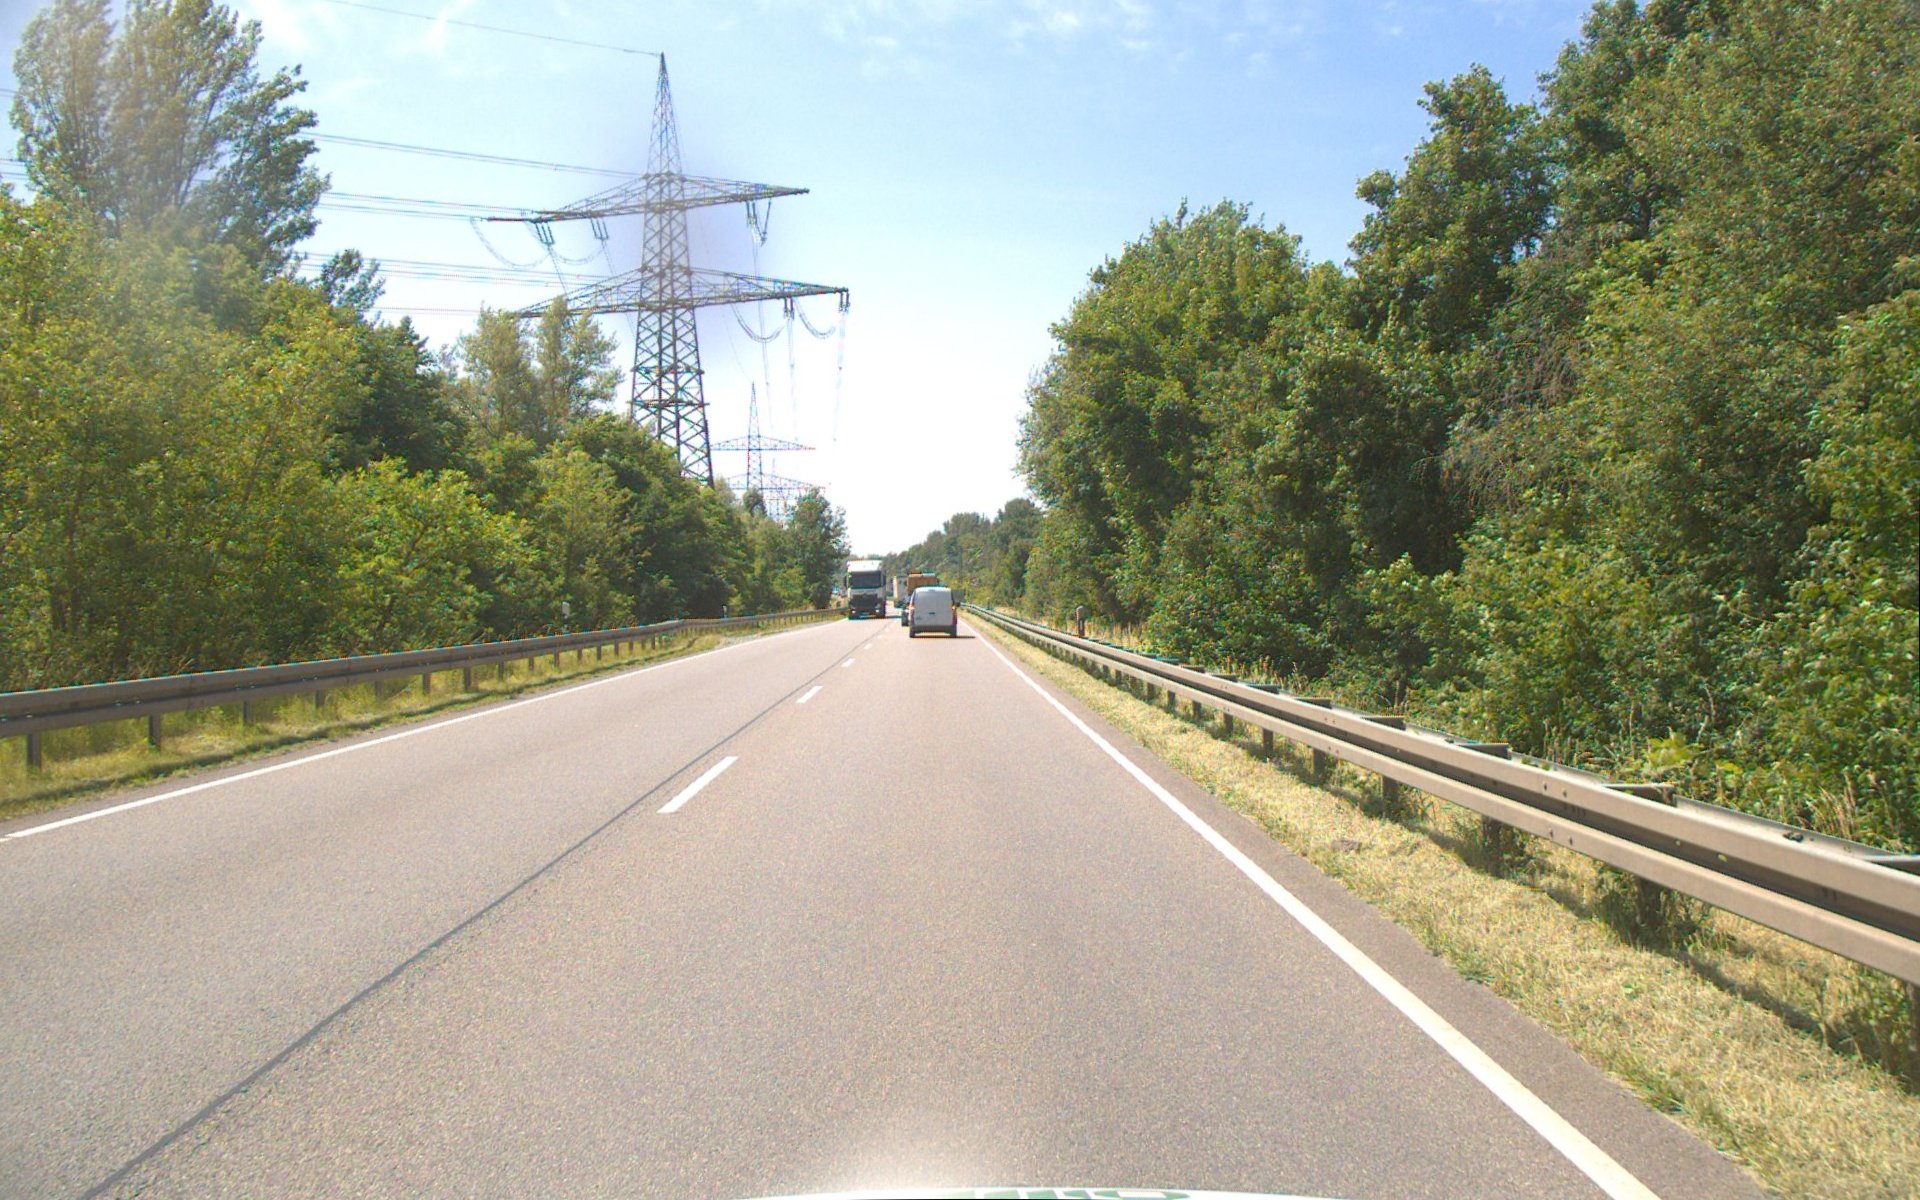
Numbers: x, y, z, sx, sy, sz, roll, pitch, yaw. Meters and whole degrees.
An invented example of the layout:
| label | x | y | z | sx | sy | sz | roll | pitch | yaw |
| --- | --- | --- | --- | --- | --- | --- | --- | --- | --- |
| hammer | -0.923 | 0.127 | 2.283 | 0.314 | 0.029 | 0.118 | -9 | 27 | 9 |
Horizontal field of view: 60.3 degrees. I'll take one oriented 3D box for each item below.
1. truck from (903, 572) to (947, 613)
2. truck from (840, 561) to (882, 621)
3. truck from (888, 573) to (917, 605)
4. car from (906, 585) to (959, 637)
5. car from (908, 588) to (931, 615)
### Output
| label | x | y | z | sx | sy | sz | roll | pitch | yaw |
| --- | --- | --- | --- | --- | --- | --- | --- | --- | --- |
| truck | -3.116 | -0.764 | 141.785 | 3.231 | 3.227 | 14.396 | 1 | 1 | -3 |
| truck | -6.920 | -0.604 | 116.451 | 2.707 | 4.069 | 5.905 | 1 | 0 | -1 |
| truck | -7.684 | -1.543 | 218.620 | 3.335 | 3.922 | 16.807 | 1 | 1 | -3 |
| car | -1.024 | 0.362 | 60.572 | 1.837 | 1.772 | 3.999 | 1 | 1 | -2 |
| car | -3.192 | 0.110 | 130.235 | 1.728 | 2.049 | 3.997 | 0 | 0 | -3 |
